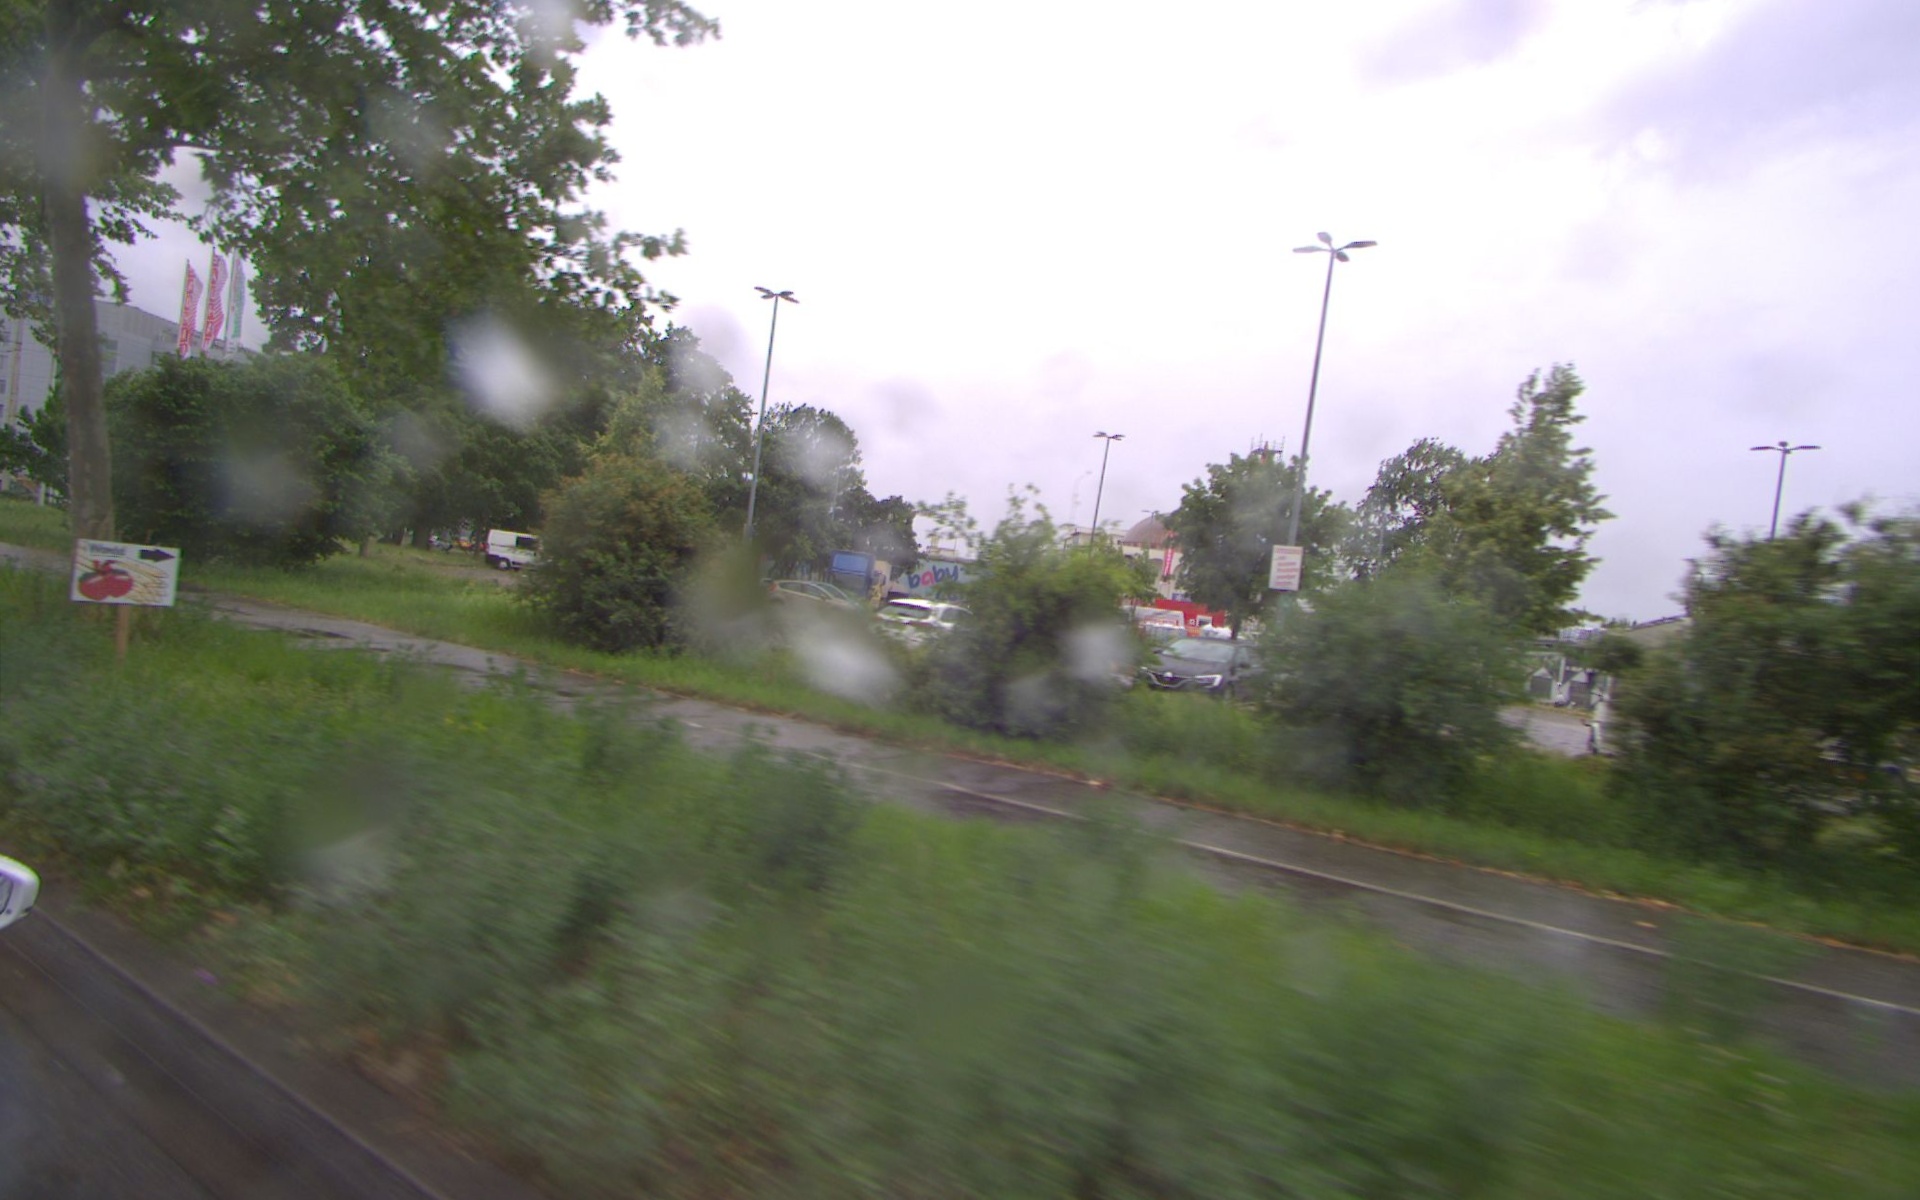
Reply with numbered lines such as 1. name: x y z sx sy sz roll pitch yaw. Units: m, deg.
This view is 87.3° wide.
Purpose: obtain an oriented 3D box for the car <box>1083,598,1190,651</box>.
1. car: 10.268 1.444 58.692 5.571 2.362 1.999 7 -2 -6

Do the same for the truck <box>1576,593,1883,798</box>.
1. truck: 11.556 1.457 15.794 2.180 2.330 6.554 6 -2 24

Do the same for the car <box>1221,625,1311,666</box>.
1. car: 21.324 3.199 70.272 5.563 2.168 2.002 7 -2 5

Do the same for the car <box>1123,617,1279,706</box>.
1. car: 4.827 1.259 19.747 1.965 1.380 3.998 6 -2 28

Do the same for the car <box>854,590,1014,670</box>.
1. car: -0.494 0.745 22.937 1.836 1.380 3.998 6 -2 28

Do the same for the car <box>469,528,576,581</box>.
1. car: -23.537 -2.428 54.272 4.833 2.179 1.803 7 0 -9

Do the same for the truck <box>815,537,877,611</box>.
1. truck: -6.815 -1.426 61.223 2.950 3.856 8.285 7 -1 -3

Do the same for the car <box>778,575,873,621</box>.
1. car: -5.993 -0.073 45.085 3.927 1.514 2.001 7 -2 -3

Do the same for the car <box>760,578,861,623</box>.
1. car: -6.277 0.056 42.562 3.927 1.380 2.001 7 -2 -3

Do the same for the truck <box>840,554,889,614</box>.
1. truck: -6.985 -1.069 74.797 2.950 3.856 8.953 7 -1 -3
